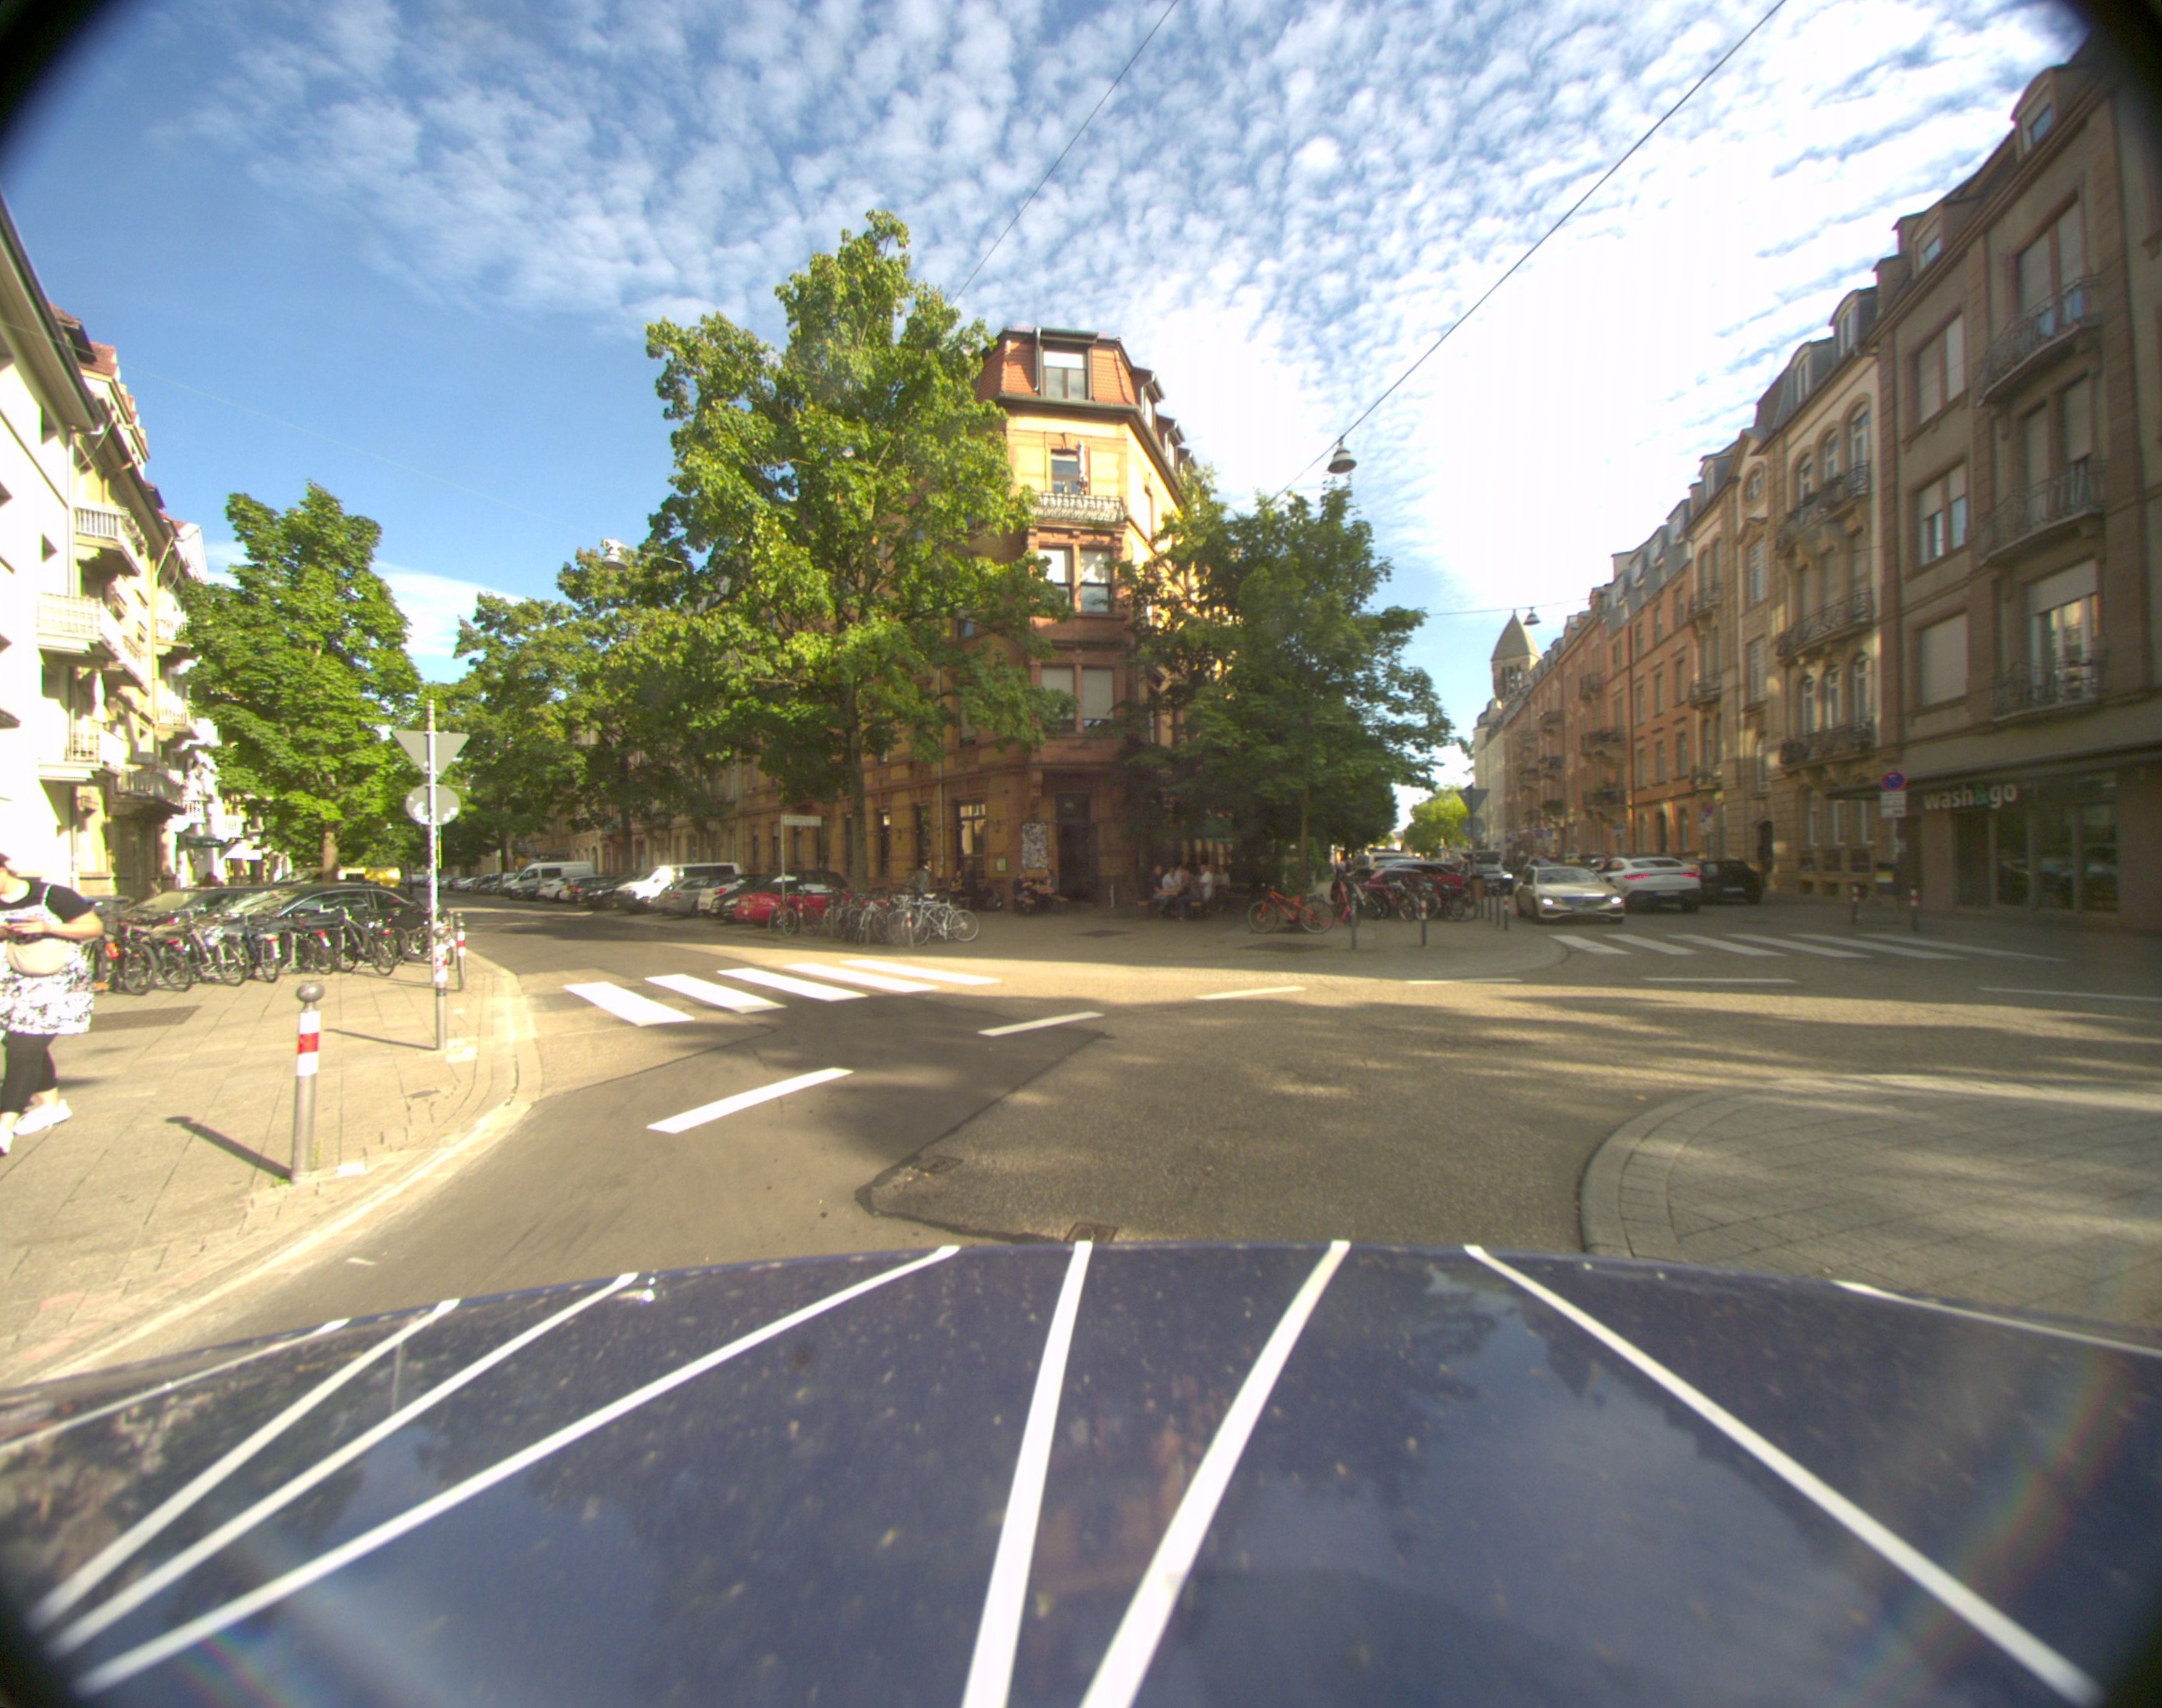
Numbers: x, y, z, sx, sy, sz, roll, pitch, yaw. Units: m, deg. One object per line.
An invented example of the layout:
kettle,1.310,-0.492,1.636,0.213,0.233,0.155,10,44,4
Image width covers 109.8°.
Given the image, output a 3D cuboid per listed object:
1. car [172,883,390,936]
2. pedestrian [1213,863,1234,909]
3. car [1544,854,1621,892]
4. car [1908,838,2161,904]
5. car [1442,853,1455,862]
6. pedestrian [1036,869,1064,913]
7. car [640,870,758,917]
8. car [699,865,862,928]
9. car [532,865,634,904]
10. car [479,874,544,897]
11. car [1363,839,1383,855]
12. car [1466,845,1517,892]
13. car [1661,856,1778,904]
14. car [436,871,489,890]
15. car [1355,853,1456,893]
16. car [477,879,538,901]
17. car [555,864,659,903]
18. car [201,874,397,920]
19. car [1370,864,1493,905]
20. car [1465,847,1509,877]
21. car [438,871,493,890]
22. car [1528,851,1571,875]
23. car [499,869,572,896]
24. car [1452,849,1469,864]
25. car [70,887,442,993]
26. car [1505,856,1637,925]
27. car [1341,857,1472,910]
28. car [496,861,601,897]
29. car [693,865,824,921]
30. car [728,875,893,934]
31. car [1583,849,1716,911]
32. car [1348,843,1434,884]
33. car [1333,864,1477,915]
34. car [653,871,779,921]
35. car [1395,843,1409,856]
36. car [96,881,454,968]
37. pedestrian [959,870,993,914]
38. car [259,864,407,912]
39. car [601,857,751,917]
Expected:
car,-26.069,1.756,25.016,1.746,1.486,4.637,-2,-2,19
pedestrian,4.193,0.926,22.428,0.466,1.319,0.621,-1,1,-2
car,20.856,0.753,31.780,1.767,1.373,4.458,-4,-1,22
car,26.336,0.477,21.172,3.993,1.611,2.002,-2,-1,13
car,57.948,0.477,119.789,1.622,1.371,3.767,-1,0,23
pedestrian,-0.930,1.112,22.977,0.642,1.252,0.510,-3,3,-36
car,-14.852,1.498,29.655,3.714,1.449,1.665,-5,3,-41
car,-9.427,1.255,23.947,4.319,1.561,2.001,-4,2,-37
car,-28.555,1.697,43.625,1.931,1.823,4.467,-1,3,44
car,-46.291,2.542,61.794,4.008,1.721,1.825,-1,-1,-44
car,34.914,-0.806,91.005,1.847,1.724,4.005,-2,-1,16
car,18.805,0.639,34.910,1.789,2.051,4.007,-1,0,25
car,20.229,0.782,24.254,1.721,1.360,3.836,-3,-1,22
car,-62.182,2.695,76.421,4.008,1.721,1.825,-1,-1,-44
car,13.739,0.792,32.286,3.585,1.603,1.513,1,0,-1
car,-49.491,3.105,65.628,4.008,1.721,1.825,-1,-1,-44
car,-26.365,1.593,42.403,1.931,1.823,4.467,-1,3,44
car,-28.197,1.492,27.630,1.746,1.486,4.637,-2,-2,19
car,12.248,1.062,26.691,3.585,1.315,1.513,1,0,-1
car,27.131,0.527,50.866,1.941,1.868,4.844,-3,-1,21
car,-60.602,2.603,74.852,4.008,1.721,1.825,-1,-1,-44
car,28.766,0.534,46.732,1.622,1.371,3.768,-1,-1,22
car,-40.539,2.109,56.503,4.134,1.862,1.995,-1,-1,-43
car,49.962,0.295,100.038,1.724,1.921,4.018,-1,0,23
car,-13.980,1.340,13.189,1.806,1.446,4.008,0,-1,27
car,12.853,0.905,20.273,1.941,1.587,4.844,-3,-1,21
car,10.550,0.926,24.763,3.585,1.606,1.513,1,0,-1
car,-35.734,1.625,51.119,5.493,2.188,1.995,-1,-1,-43
car,-11.041,1.295,26.140,3.715,1.710,1.856,-1,-1,-41
car,-7.653,1.386,21.770,1.564,1.263,4.120,-3,0,45
car,16.787,0.763,22.758,1.995,1.624,4.852,-2,-2,22
car,19.879,0.623,48.836,4.739,2.408,1.999,-2,-1,-10
car,9.477,1.018,22.374,3.586,1.372,1.513,1,0,-4
car,-13.067,1.462,27.299,3.714,1.449,1.665,-4,0,-41
car,51.874,-0.714,122.672,1.995,1.877,4.007,-3,-1,24
car,-16.003,1.316,15.548,1.953,1.446,4.671,-2,-2,12
pedestrian,-3.257,1.175,23.624,0.627,1.277,0.770,-2,2,45
car,-37.079,1.662,37.866,2.144,2.207,4.817,-2,-2,15
car,-16.586,1.264,31.328,2.041,1.978,4.920,-1,3,44
